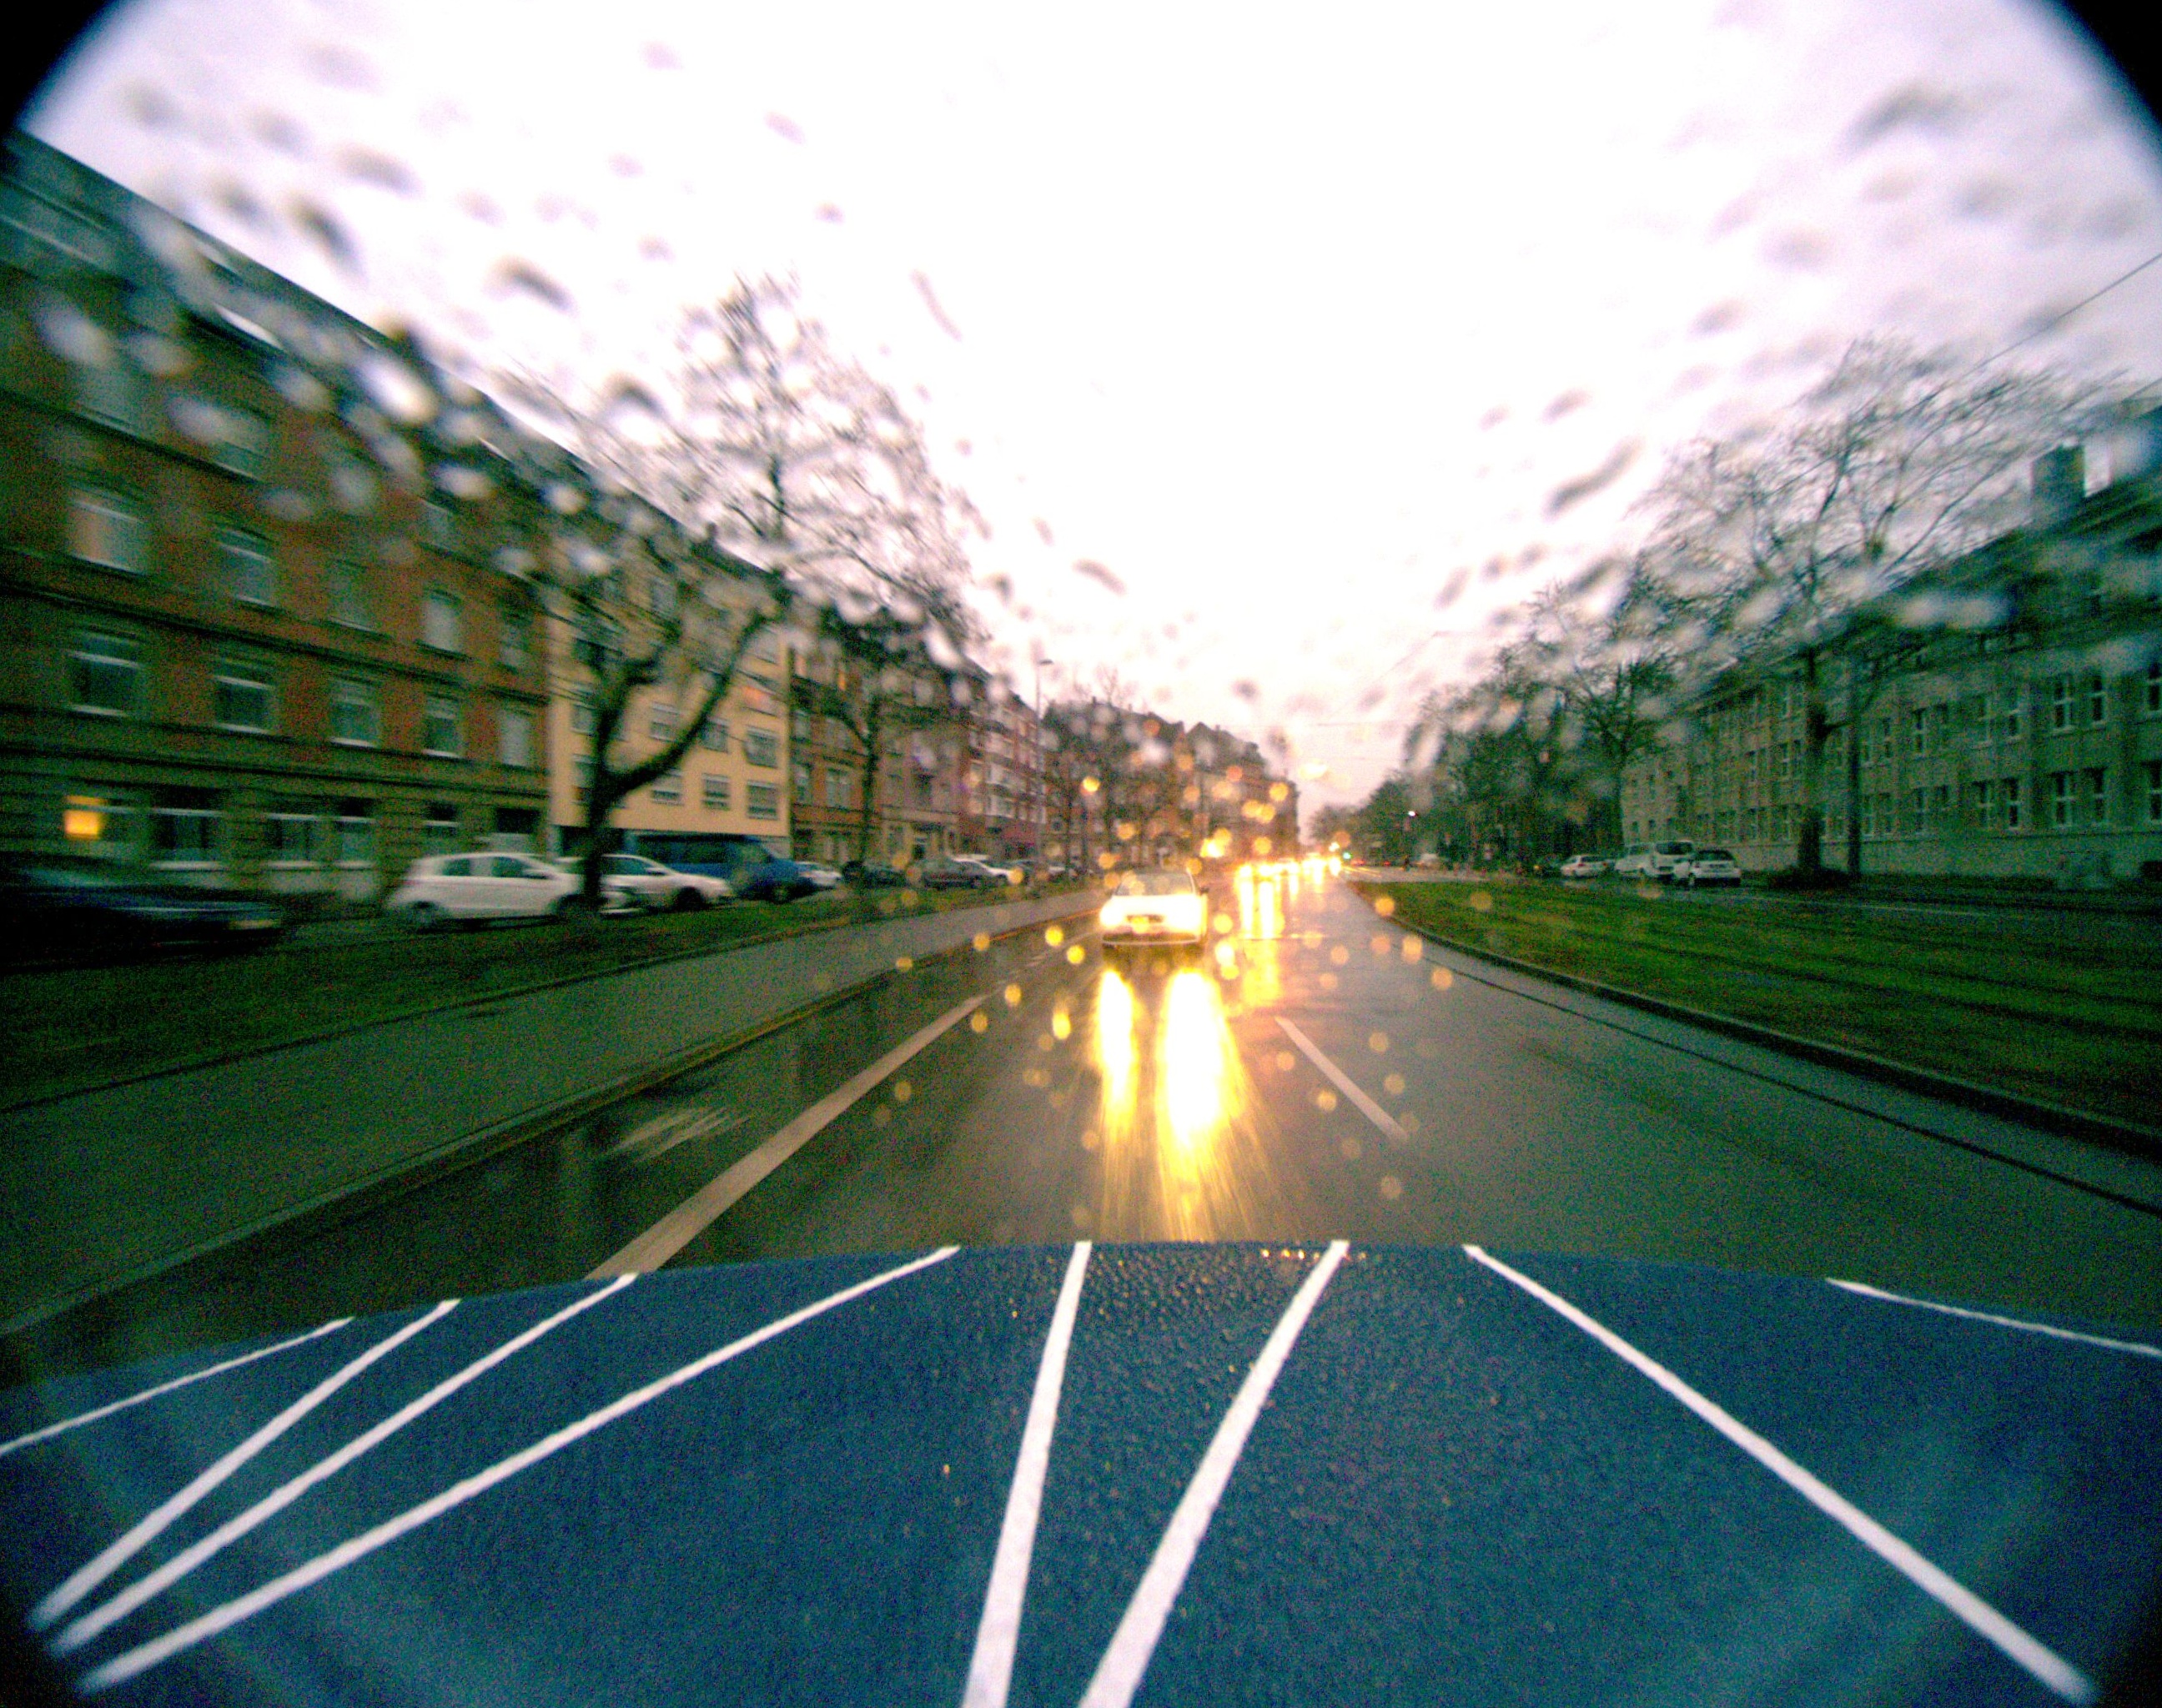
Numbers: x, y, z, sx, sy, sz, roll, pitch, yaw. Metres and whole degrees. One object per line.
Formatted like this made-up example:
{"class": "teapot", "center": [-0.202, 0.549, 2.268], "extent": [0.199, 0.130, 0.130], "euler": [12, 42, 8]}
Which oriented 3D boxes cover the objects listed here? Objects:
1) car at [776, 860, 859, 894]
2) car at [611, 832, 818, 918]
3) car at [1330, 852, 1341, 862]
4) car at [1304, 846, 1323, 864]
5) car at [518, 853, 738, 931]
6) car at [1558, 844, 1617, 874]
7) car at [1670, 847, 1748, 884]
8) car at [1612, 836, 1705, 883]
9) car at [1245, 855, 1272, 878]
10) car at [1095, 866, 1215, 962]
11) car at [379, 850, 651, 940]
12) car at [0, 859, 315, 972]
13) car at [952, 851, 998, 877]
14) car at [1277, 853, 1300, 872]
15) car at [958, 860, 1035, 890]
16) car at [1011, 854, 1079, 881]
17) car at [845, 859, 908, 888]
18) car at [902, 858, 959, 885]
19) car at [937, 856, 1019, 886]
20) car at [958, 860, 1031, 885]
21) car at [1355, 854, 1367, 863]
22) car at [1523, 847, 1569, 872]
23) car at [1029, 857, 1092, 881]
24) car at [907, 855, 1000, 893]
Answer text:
{"class": "car", "center": [-13.221, 1.115, 38.424], "extent": [1.749, 1.469, 4.182], "euler": [-3, 0, 18]}
{"class": "car", "center": [-9.582, 0.505, 20.310], "extent": [4.727, 1.971, 1.796], "euler": [-2, 0, -20]}
{"class": "car", "center": [45.738, 0.555, 136.472], "extent": [1.646, 1.739, 3.560], "euler": [0, 0, 24]}
{"class": "car", "center": [32.882, 0.114, 107.255], "extent": [2.126, 2.366, 5.646], "euler": [-3, 0, 21]}
{"class": "car", "center": [-10.138, 0.813, 17.349], "extent": [4.003, 1.407, 1.639], "euler": [-3, 0, -20]}
{"class": "car", "center": [30.614, 0.278, 46.040], "extent": [1.824, 1.645, 3.863], "euler": [-3, 0, 16]}
{"class": "car", "center": [26.375, 0.455, 32.013], "extent": [1.558, 1.420, 2.958], "euler": [-1, 1, 18]}
{"class": "car", "center": [27.520, 0.227, 36.404], "extent": [1.996, 2.002, 4.514], "euler": [-3, 0, 16]}
{"class": "car", "center": [11.699, 0.789, 50.002], "extent": [1.588, 1.418, 3.138], "euler": [-1, 0, 16]}
{"class": "car", "center": [1.521, 1.028, 14.274], "extent": [1.713, 1.405, 3.682], "euler": [-3, 0, 13]}
{"class": "car", "center": [-10.804, 0.739, 14.788], "extent": [3.775, 1.424, 1.760], "euler": [-3, 0, -10]}
{"class": "car", "center": [-12.315, 0.686, 9.109], "extent": [4.065, 1.227, 1.769], "euler": [1, -1, -13]}
{"class": "car", "center": [-7.534, 0.696, 54.358], "extent": [1.671, 1.693, 3.470], "euler": [-3, 0, 21]}
{"class": "car", "center": [19.343, 0.769, 70.852], "extent": [1.673, 1.650, 4.151], "euler": [-3, 0, 11]}
{"class": "car", "center": [-4.331, 1.074, 38.952], "extent": [3.766, 1.324, 1.600], "euler": [-3, 0, -7]}
{"class": "car", "center": [-2.128, 0.770, 44.413], "extent": [3.766, 1.346, 1.601], "euler": [-3, 0, -7]}
{"class": "car", "center": [-11.449, 1.054, 42.841], "extent": [1.471, 1.534, 3.877], "euler": [0, 0, 19]}
{"class": "car", "center": [-9.664, 1.086, 49.061], "extent": [1.691, 1.534, 4.005], "euler": [-3, 0, 19]}
{"class": "car", "center": [-4.907, 0.783, 36.299], "extent": [3.766, 1.325, 1.600], "euler": [-1, 1, -7]}
{"class": "car", "center": [-4.732, 0.974, 41.350], "extent": [3.768, 1.270, 1.600], "euler": [-1, 0, -13]}
{"class": "car", "center": [58.719, 0.913, 159.371], "extent": [1.949, 1.804, 4.007], "euler": [-1, 0, 24]}
{"class": "car", "center": [32.054, 0.362, 52.501], "extent": [1.613, 1.650, 3.614], "euler": [-1, 0, 13]}
{"class": "car", "center": [-1.308, 0.923, 47.410], "extent": [3.766, 1.346, 1.601], "euler": [-3, 0, -7]}
{"class": "car", "center": [-5.623, 0.837, 33.483], "extent": [3.875, 1.398, 1.693], "euler": [-3, 1, -12]}
